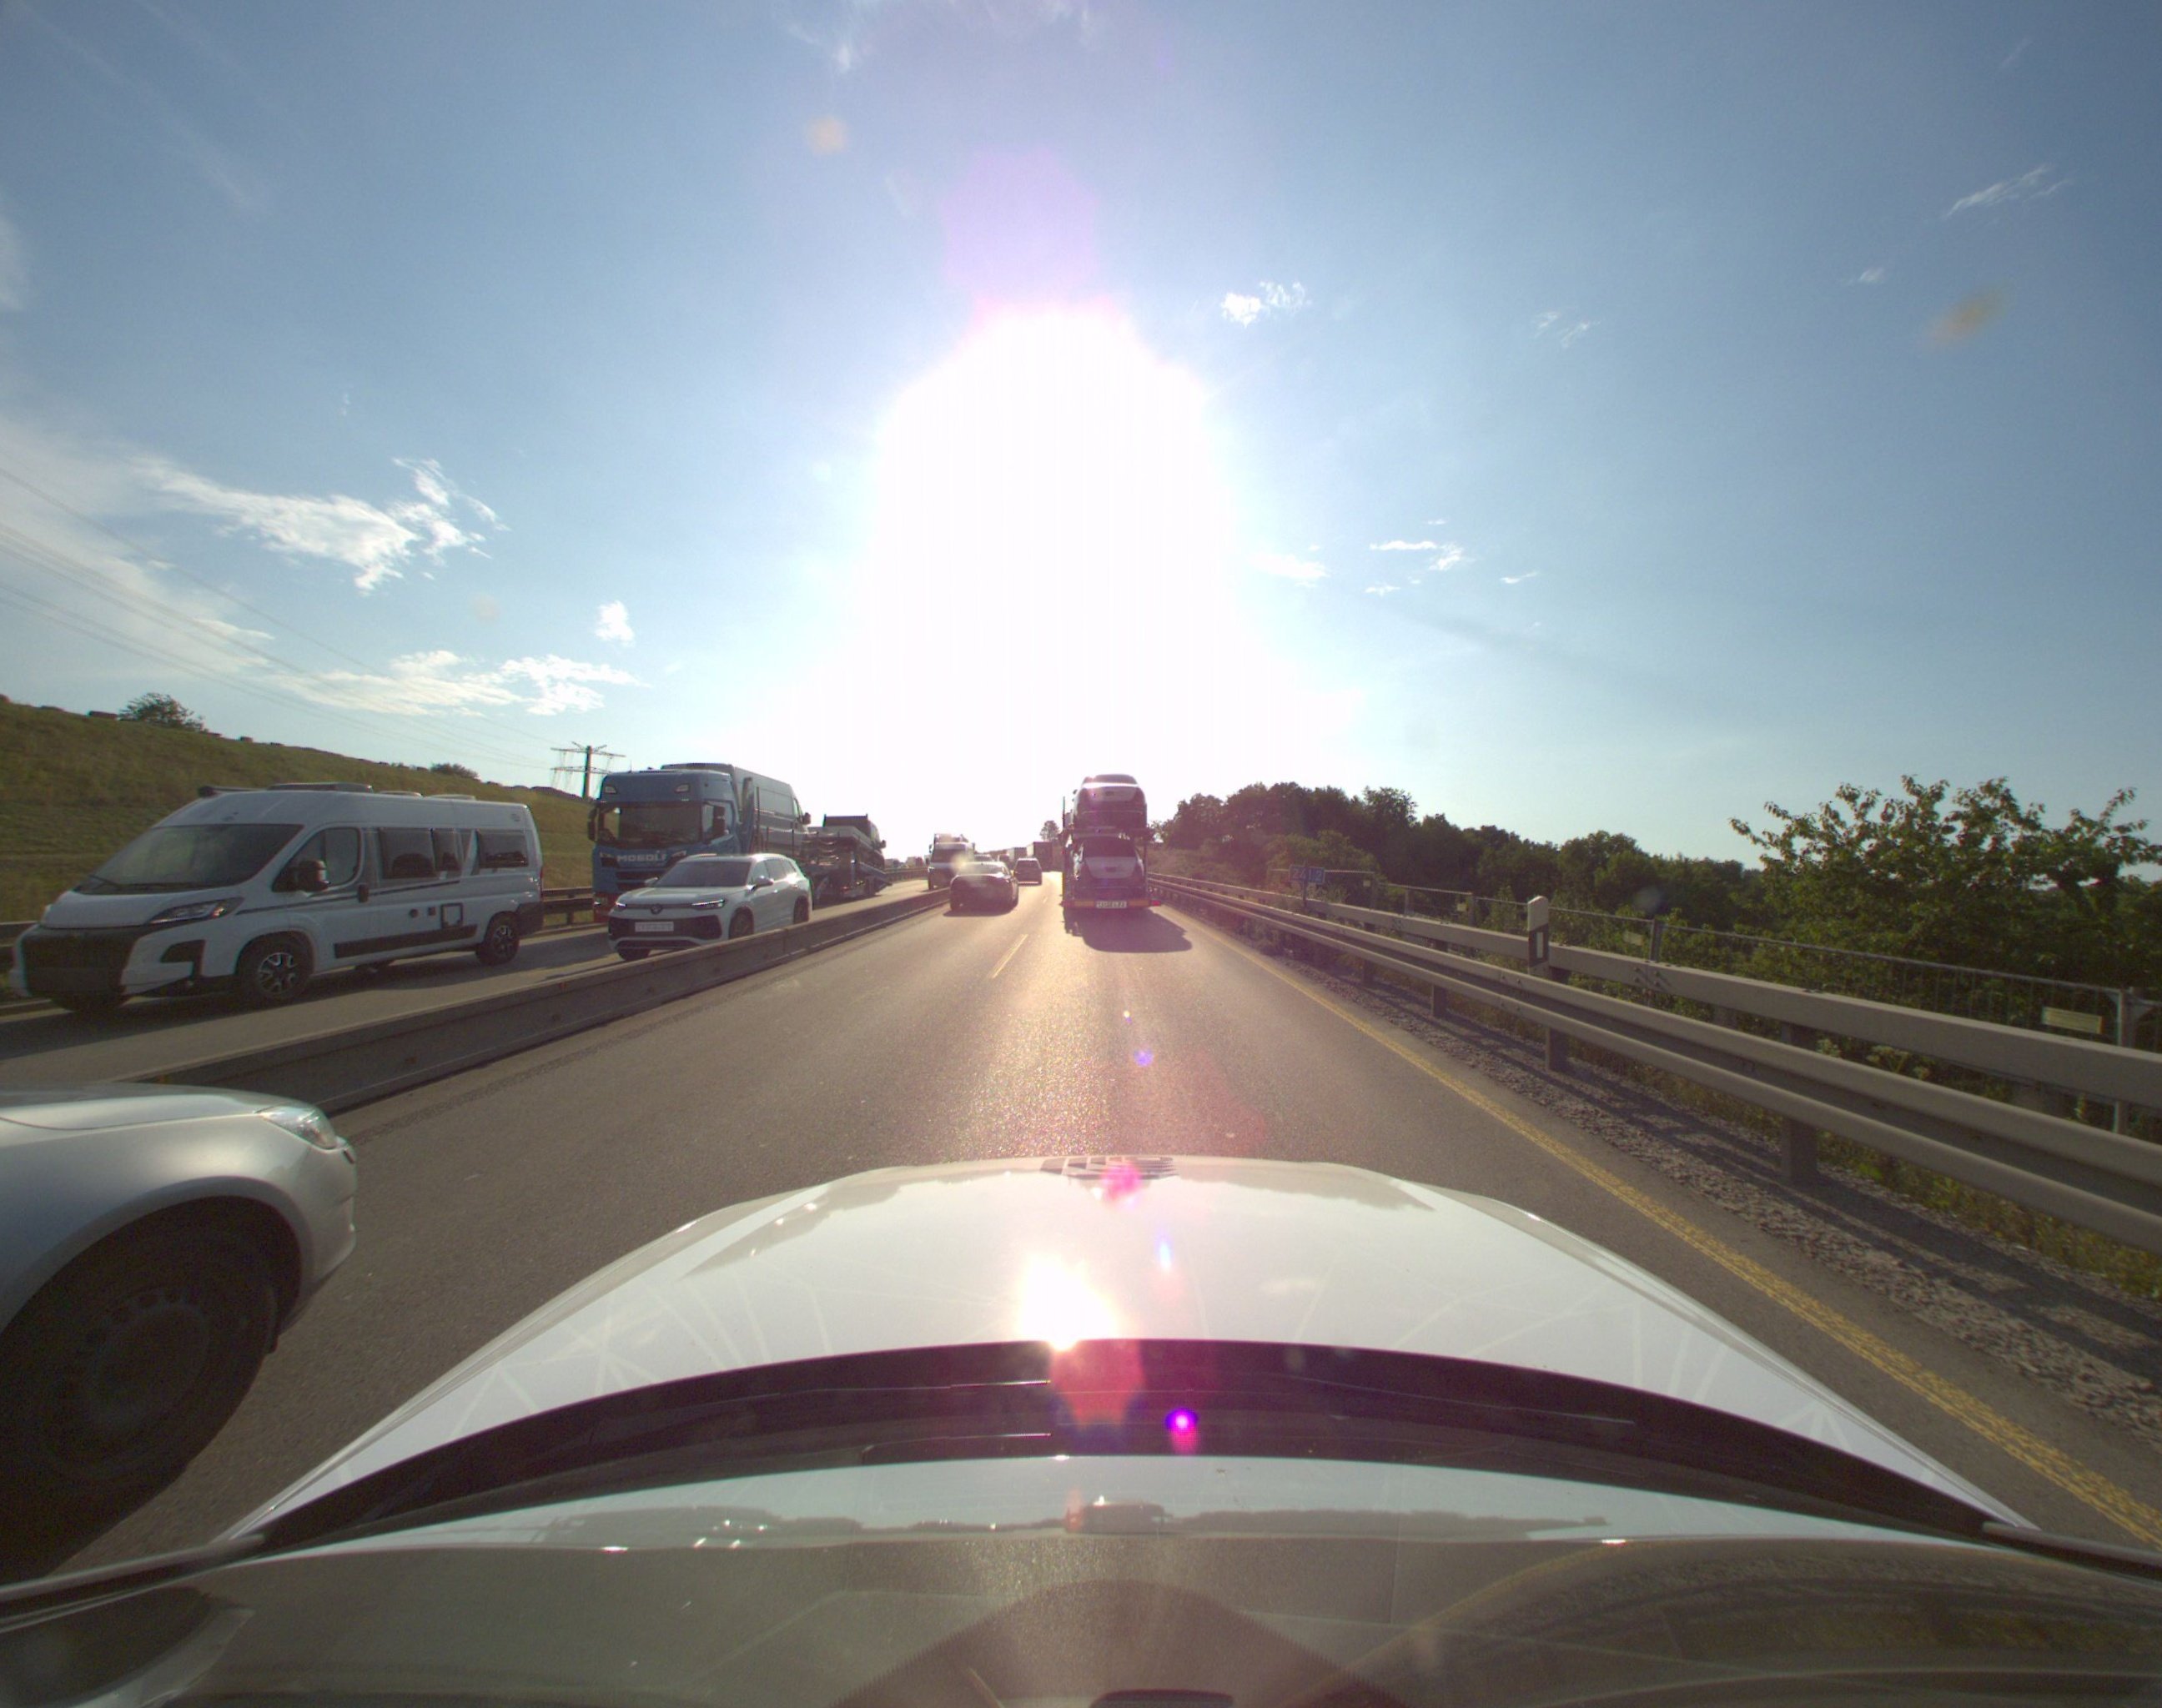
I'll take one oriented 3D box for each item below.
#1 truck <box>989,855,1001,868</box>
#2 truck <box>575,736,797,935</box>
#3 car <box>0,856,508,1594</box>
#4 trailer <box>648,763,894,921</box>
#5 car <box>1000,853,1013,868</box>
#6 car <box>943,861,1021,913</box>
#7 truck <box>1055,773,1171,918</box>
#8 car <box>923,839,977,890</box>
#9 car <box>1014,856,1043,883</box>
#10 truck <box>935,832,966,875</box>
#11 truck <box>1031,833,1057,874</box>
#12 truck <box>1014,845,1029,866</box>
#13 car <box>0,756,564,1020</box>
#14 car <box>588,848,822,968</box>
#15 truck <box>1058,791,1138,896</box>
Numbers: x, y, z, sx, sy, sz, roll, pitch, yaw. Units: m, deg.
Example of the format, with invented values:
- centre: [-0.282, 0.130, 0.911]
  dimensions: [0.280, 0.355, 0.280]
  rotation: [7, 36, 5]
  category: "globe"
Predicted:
- centre: [-20.695, 1.808, 196.055]
  dimensions: [2.585, 3.170, 6.668]
  rotation: [-1, 0, -3]
  category: "truck"
- centre: [-9.188, -0.377, 19.762]
  dimensions: [2.495, 4.065, 5.882]
  rotation: [-1, 0, -1]
  category: "truck"
- centre: [-3.072, 0.755, 0.849]
  dimensions: [1.749, 1.473, 4.354]
  rotation: [-1, 0, 2]
  category: "car"
- centre: [-9.476, -0.257, 27.980]
  dimensions: [2.687, 3.873, 15.384]
  rotation: [-1, 0, -1]
  category: "trailer"
- centre: [-12.559, 1.084, 137.902]
  dimensions: [1.917, 2.492, 5.401]
  rotation: [-1, 0, -4]
  category: "car"
- centre: [-3.045, 0.975, 25.999]
  dimensions: [1.929, 1.398, 4.958]
  rotation: [-1, 0, -1]
  category: "car"
- centre: [0.716, -0.183, 25.300]
  dimensions: [2.791, 3.497, 10.600]
  rotation: [-1, 0, -1]
  category: "truck"
- centre: [-6.955, 0.546, 43.906]
  dimensions: [2.099, 2.482, 6.061]
  rotation: [-1, 0, -2]
  category: "car"
- centre: [-3.191, 0.920, 49.952]
  dimensions: [1.688, 1.596, 3.995]
  rotation: [-1, 0, -3]
  category: "car"
- centre: [-11.934, 0.001, 75.158]
  dimensions: [2.311, 3.607, 11.941]
  rotation: [-1, 0, -7]
  category: "truck"
- centre: [-5.175, -0.044, 112.320]
  dimensions: [3.279, 5.236, 9.921]
  rotation: [-1, 0, -4]
  category: "truck"
- centre: [-10.771, 0.294, 146.943]
  dimensions: [2.526, 3.648, 8.892]
  rotation: [-1, 0, -4]
  category: "truck"
- centre: [-9.712, 0.346, 10.789]
  dimensions: [2.151, 2.557, 5.587]
  rotation: [-1, 0, 0]
  category: "car"
- centre: [-6.190, 0.793, 14.121]
  dimensions: [1.864, 1.694, 4.595]
  rotation: [-1, 0, 0]
  category: "car"
- centre: [0.560, -0.362, 34.686]
  dimensions: [2.830, 3.792, 9.982]
  rotation: [-1, 0, -1]
  category: "truck"
